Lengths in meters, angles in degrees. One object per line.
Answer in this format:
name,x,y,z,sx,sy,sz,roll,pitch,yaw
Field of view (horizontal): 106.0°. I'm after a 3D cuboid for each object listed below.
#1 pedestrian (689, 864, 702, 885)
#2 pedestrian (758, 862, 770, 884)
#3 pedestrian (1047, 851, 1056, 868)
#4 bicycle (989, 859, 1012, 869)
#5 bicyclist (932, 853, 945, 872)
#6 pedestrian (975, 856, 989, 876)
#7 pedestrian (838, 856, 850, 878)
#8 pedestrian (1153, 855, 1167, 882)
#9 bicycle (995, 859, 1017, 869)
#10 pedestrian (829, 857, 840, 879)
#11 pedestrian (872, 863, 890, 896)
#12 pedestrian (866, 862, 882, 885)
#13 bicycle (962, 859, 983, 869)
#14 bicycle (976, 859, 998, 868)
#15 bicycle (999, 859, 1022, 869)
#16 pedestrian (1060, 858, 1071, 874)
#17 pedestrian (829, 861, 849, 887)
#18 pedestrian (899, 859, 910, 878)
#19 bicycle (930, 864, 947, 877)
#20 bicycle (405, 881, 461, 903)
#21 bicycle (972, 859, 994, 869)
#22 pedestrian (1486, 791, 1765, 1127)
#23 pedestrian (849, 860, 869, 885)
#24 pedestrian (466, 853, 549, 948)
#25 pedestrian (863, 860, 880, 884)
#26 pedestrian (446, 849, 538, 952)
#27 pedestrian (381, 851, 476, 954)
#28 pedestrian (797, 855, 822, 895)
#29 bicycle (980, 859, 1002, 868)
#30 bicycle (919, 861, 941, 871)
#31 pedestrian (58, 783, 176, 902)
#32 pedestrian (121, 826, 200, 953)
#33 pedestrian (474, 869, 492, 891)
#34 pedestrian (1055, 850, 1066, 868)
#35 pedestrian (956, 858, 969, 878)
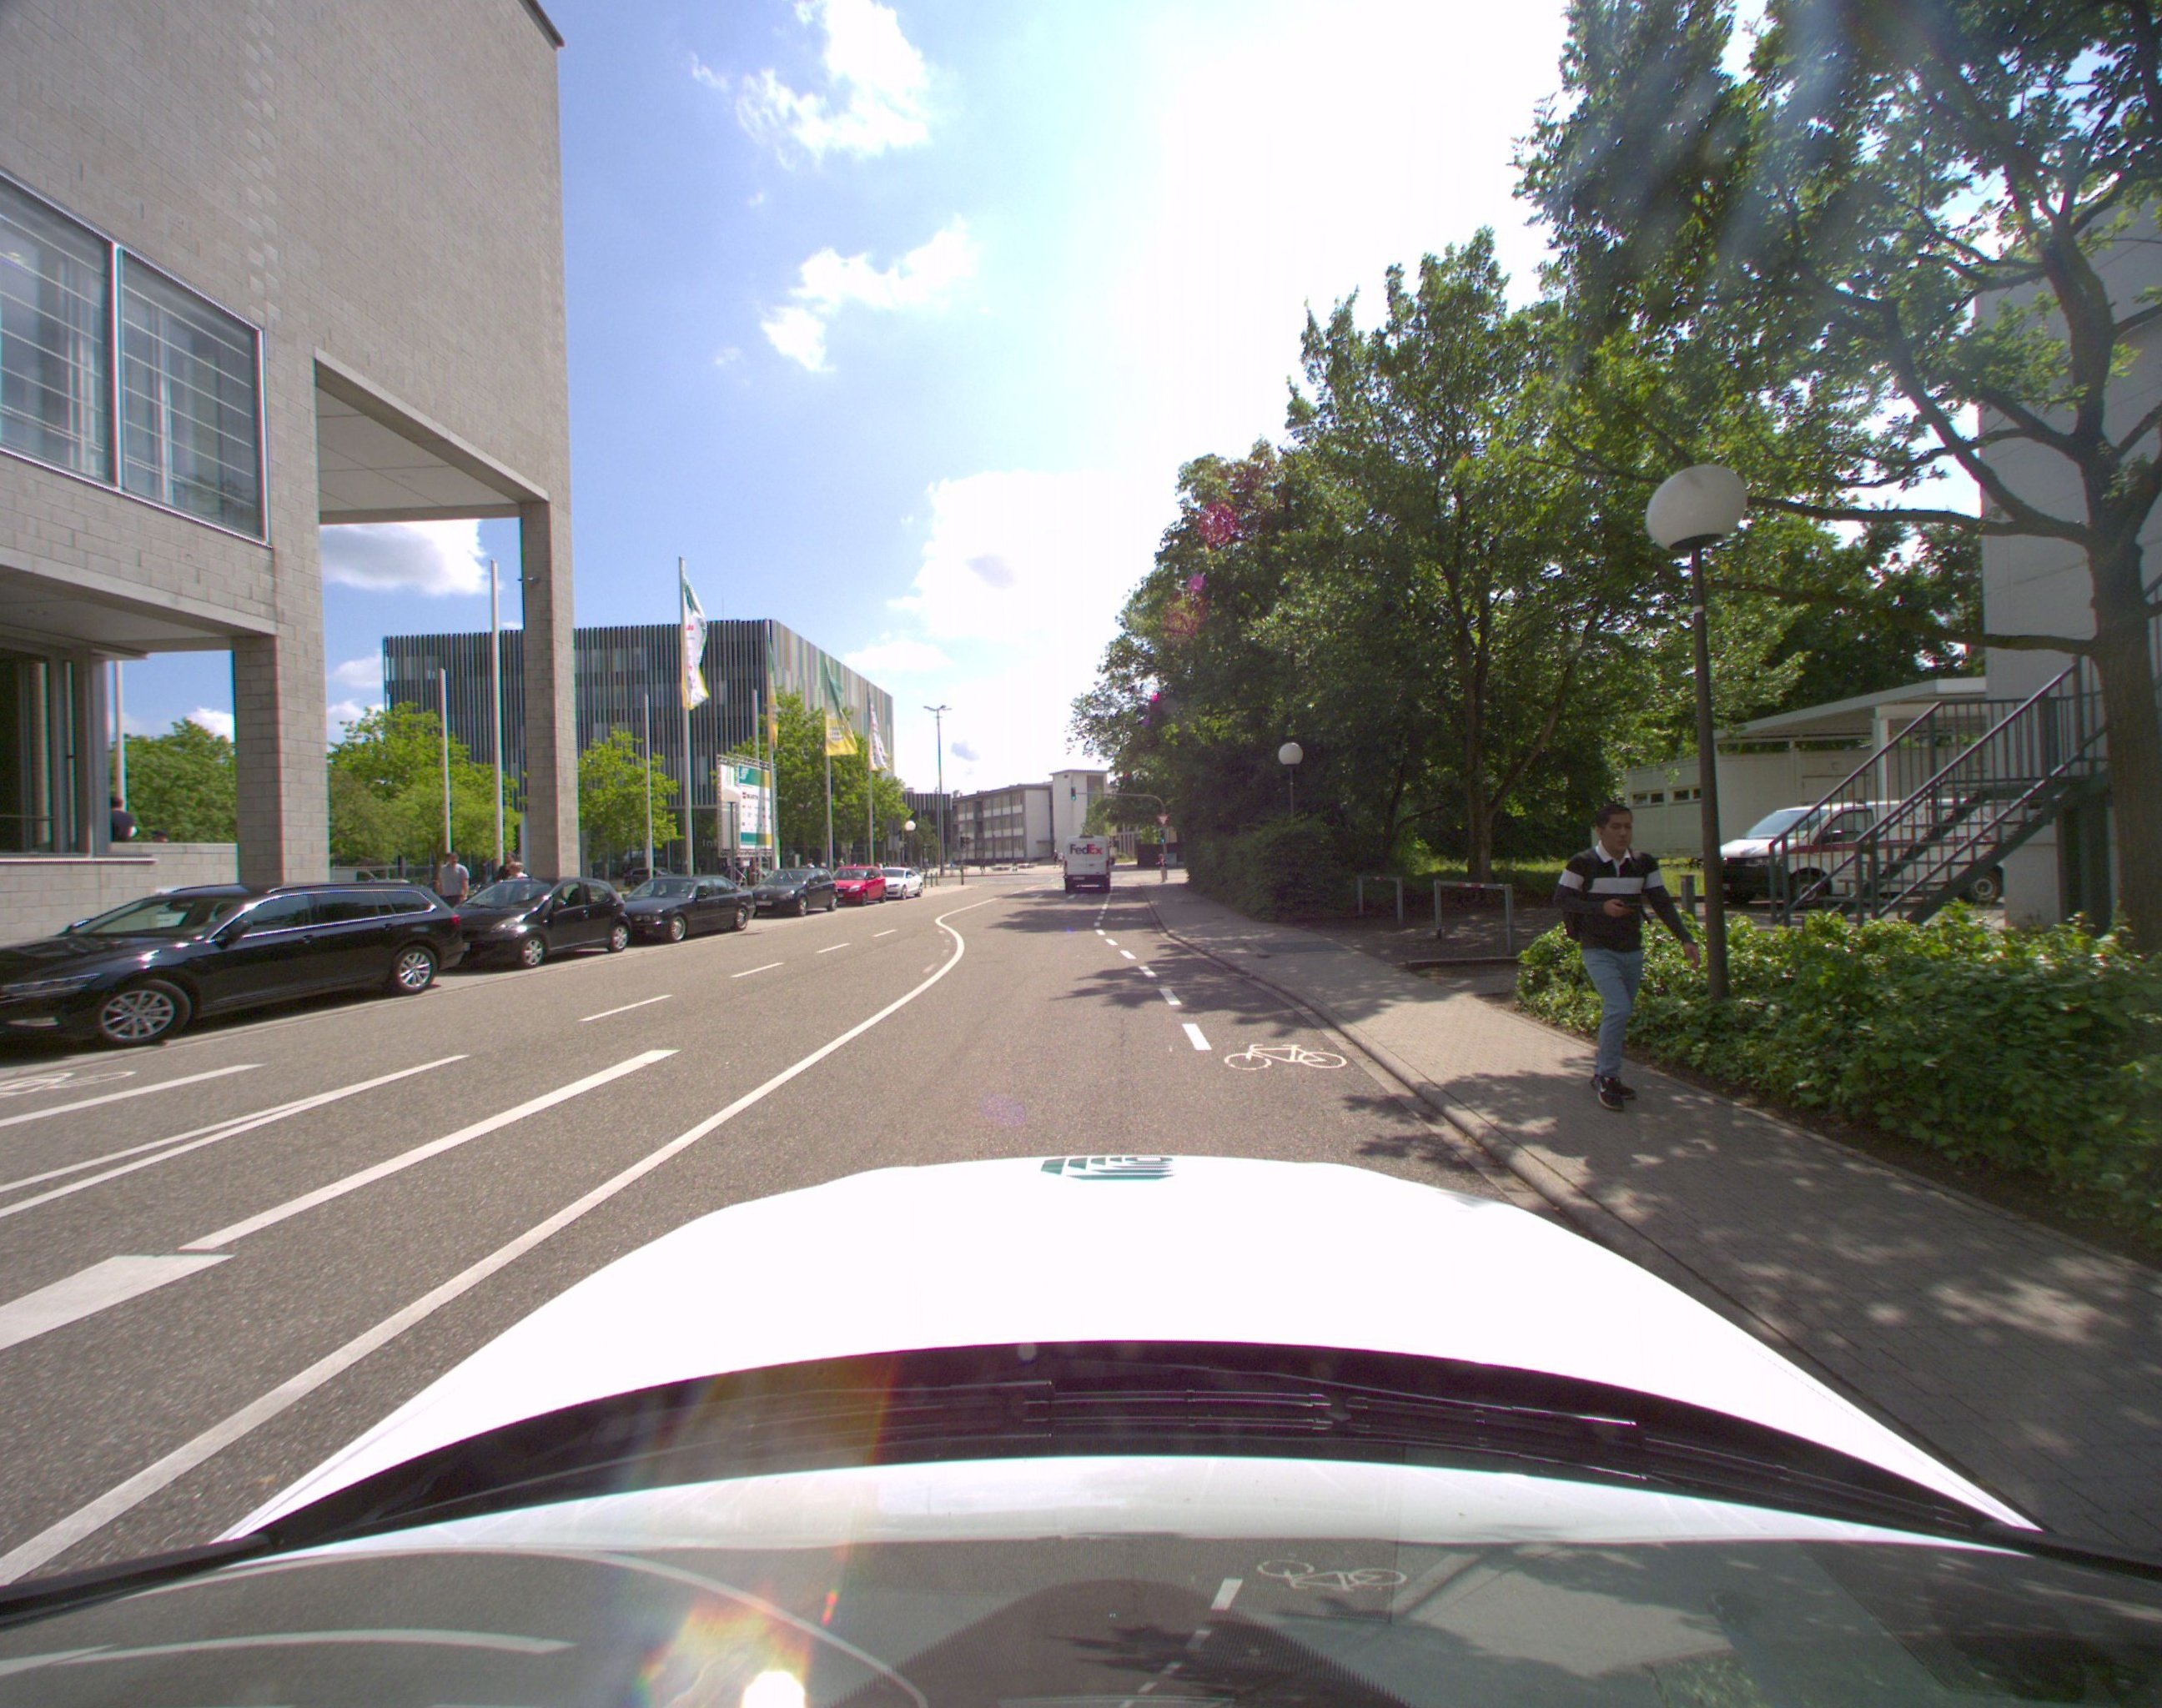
pedestrian,-43.767,2.342,92.440,0.968,2.346,1.015,-1,-1,3
pedestrian,-37.181,2.218,95.481,0.968,2.565,1.015,-1,-1,3
pedestrian,-3.213,0.576,88.791,0.670,1.815,0.811,-1,0,-17
bicycle,-11.590,1.376,116.989,2.978,1.363,1.262,-1,-1,-35
bicyclist,-13.283,0.787,75.985,0.784,1.817,1.003,-2,0,13
pedestrian,-9.368,1.172,77.415,0.822,1.870,1.090,-2,0,22
pedestrian,-27.449,1.480,94.438,0.981,2.565,1.003,0,-1,-40
pedestrian,4.603,0.821,47.278,0.729,1.576,0.775,0,-1,-1
bicycle,-10.610,1.350,115.685,2.978,1.363,1.105,-1,-1,-35
pedestrian,-28.316,1.608,93.475,0.979,2.565,1.004,0,-1,-33
pedestrian,-11.494,1.442,46.830,0.716,1.859,0.771,-2,0,4
pedestrian,-14.483,1.371,56.974,0.767,1.598,0.799,-2,0,4
bicycle,-16.594,1.514,124.406,2.978,1.363,1.105,-1,-1,-35
bicycle,-13.879,1.405,120.320,2.978,1.363,1.105,-1,-1,-35
bicycle,-9.926,1.436,114.556,2.978,1.363,1.105,-1,-1,-35
pedestrian,-1.523,1.149,79.148,0.827,1.523,0.810,-1,0,-17
pedestrian,-17.755,1.482,59.740,0.845,1.876,1.012,-2,0,25
pedestrian,-16.186,1.306,74.562,0.750,1.678,0.756,-2,0,4
bicycle,-13.299,1.492,75.896,0.765,1.122,2.033,-2,0,13
bicycle,-36.854,2.152,46.379,0.996,1.149,2.946,-1,0,-5
bicycle,-14.592,1.453,121.403,2.978,1.363,1.105,-1,-1,-35
pedestrian,3.063,0.530,4.741,0.737,1.674,1.256,-2,0,0
pedestrian,-16.357,1.378,60.146,0.853,1.819,1.102,-2,0,26
pedestrian,-12.652,0.990,18.016,0.981,2.013,1.164,-2,0,-1
pedestrian,-15.379,1.316,59.912,0.819,1.654,0.865,-2,0,16
pedestrian,-11.985,0.916,16.619,0.981,2.013,1.164,-2,0,-1
pedestrian,-13.411,0.968,16.781,0.981,2.013,1.164,-2,0,-1
pedestrian,-13.014,1.000,39.080,0.716,1.851,1.091,0,0,6
bicycle,-13.145,1.381,119.233,2.978,1.363,1.105,-1,-1,-35
bicycle,-18.278,1.473,98.549,1.207,1.237,2.915,0,-1,-43
pedestrian,-16.885,-0.188,14.290,0.974,2.014,0.911,-1,-1,2
pedestrian,-18.204,0.683,16.124,0.761,2.422,0.732,-1,-1,-24
pedestrian,-62.169,2.703,84.661,0.968,2.176,1.129,-1,-1,3
pedestrian,-2.202,0.517,88.042,0.867,1.889,0.908,-1,0,-17
pedestrian,-11.555,1.368,79.545,0.698,1.855,1.404,-2,1,12
